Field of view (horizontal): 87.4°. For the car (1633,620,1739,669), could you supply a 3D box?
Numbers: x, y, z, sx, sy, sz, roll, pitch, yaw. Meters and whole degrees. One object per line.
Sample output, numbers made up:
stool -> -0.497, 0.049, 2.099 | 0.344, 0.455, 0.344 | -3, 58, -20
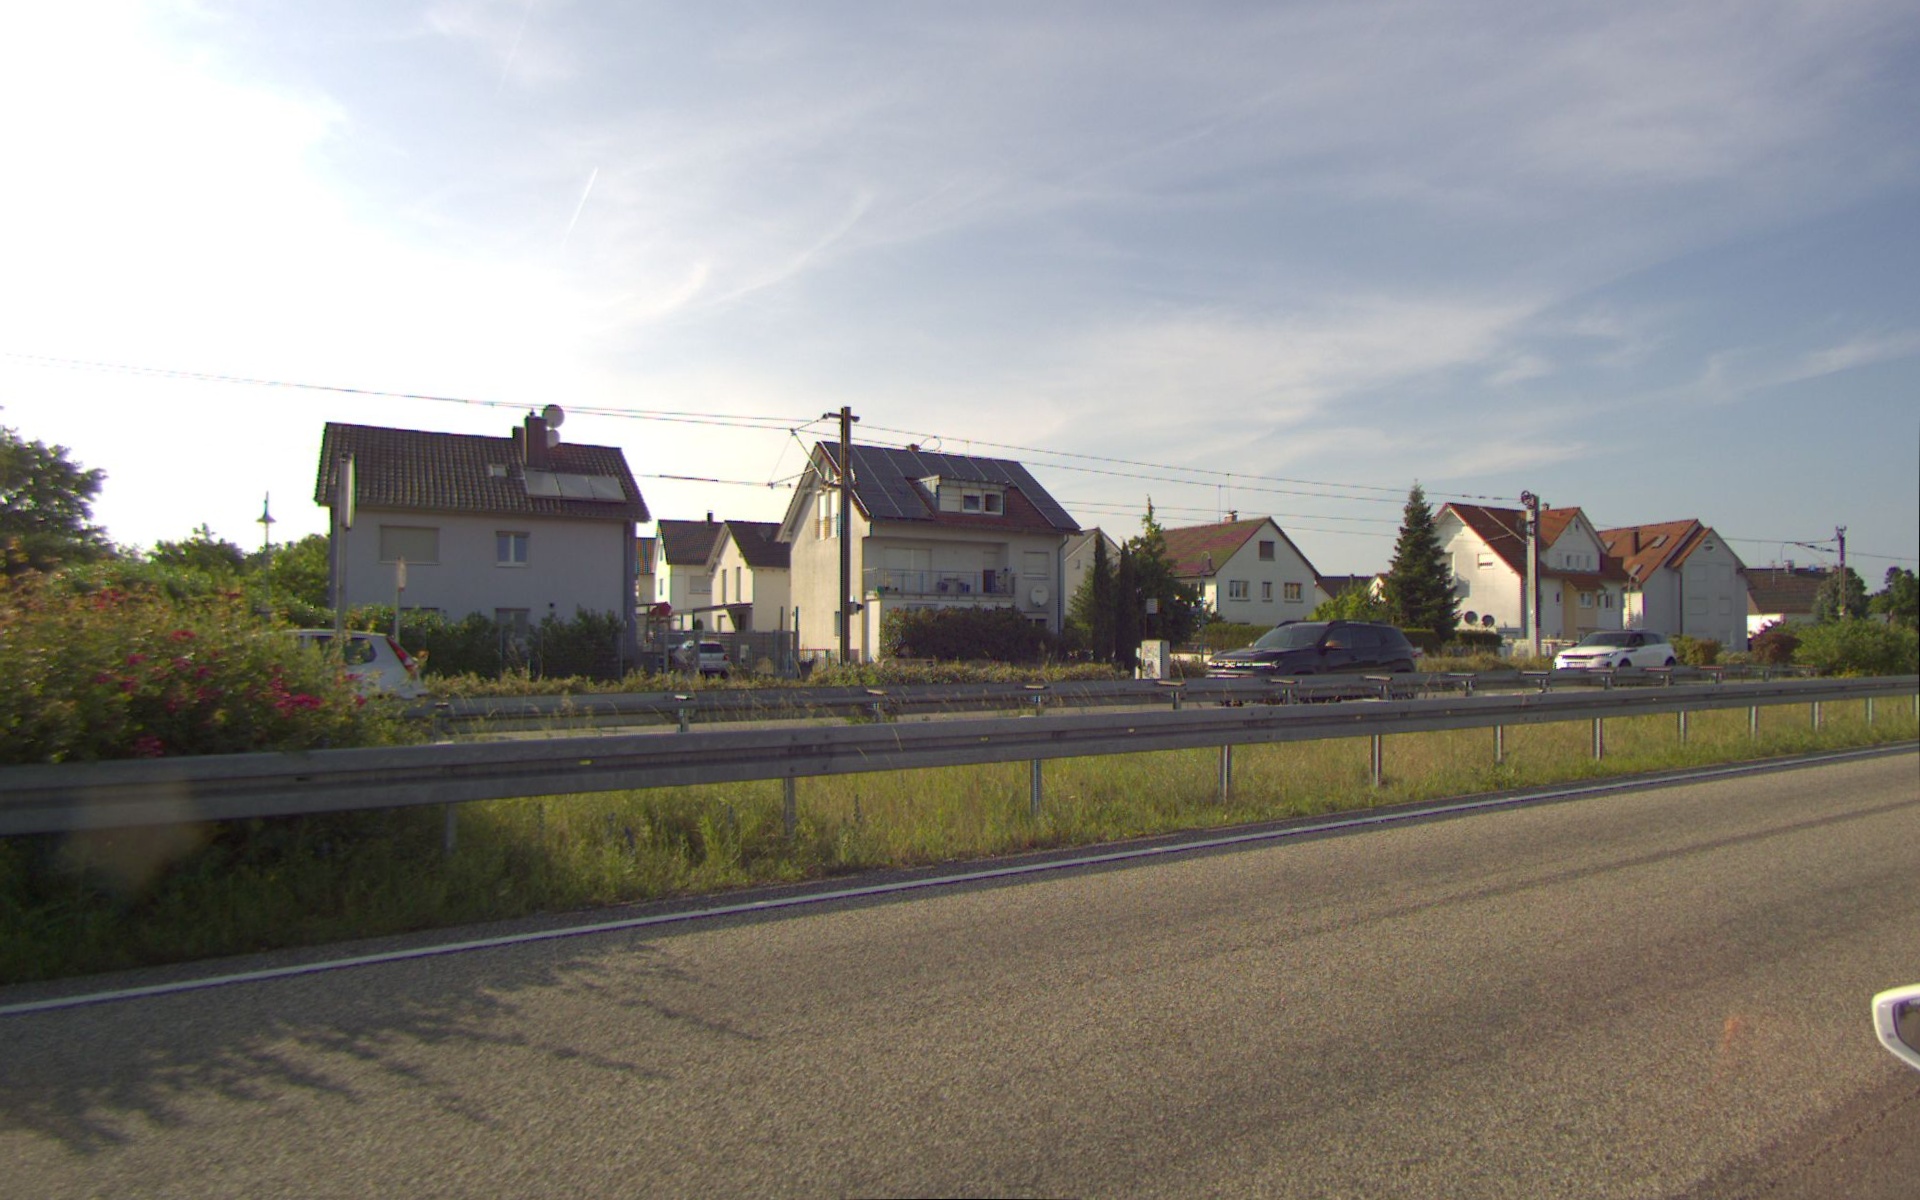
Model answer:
car -> 28.776, 1.735, 39.791 | 3.954, 1.773, 1.983 | 1, 0, -31

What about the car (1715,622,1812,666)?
car -> 34.474, 1.865, 43.094 | 3.954, 1.773, 1.983 | 1, 0, -31

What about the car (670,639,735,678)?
car -> -10.643, 2.353, 41.345 | 1.760, 1.417, 3.972 | 1, -1, -27

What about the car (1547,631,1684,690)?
car -> 19.916, 1.783, 30.480 | 4.395, 1.633, 1.706 | 1, 0, -31

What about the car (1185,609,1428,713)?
car -> 6.186, 1.064, 17.836 | 4.269, 1.655, 1.721 | 1, -4, -31

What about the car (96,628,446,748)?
car -> -8.847, 1.103, 13.262 | 3.580, 1.384, 1.721 | 1, -4, -31
